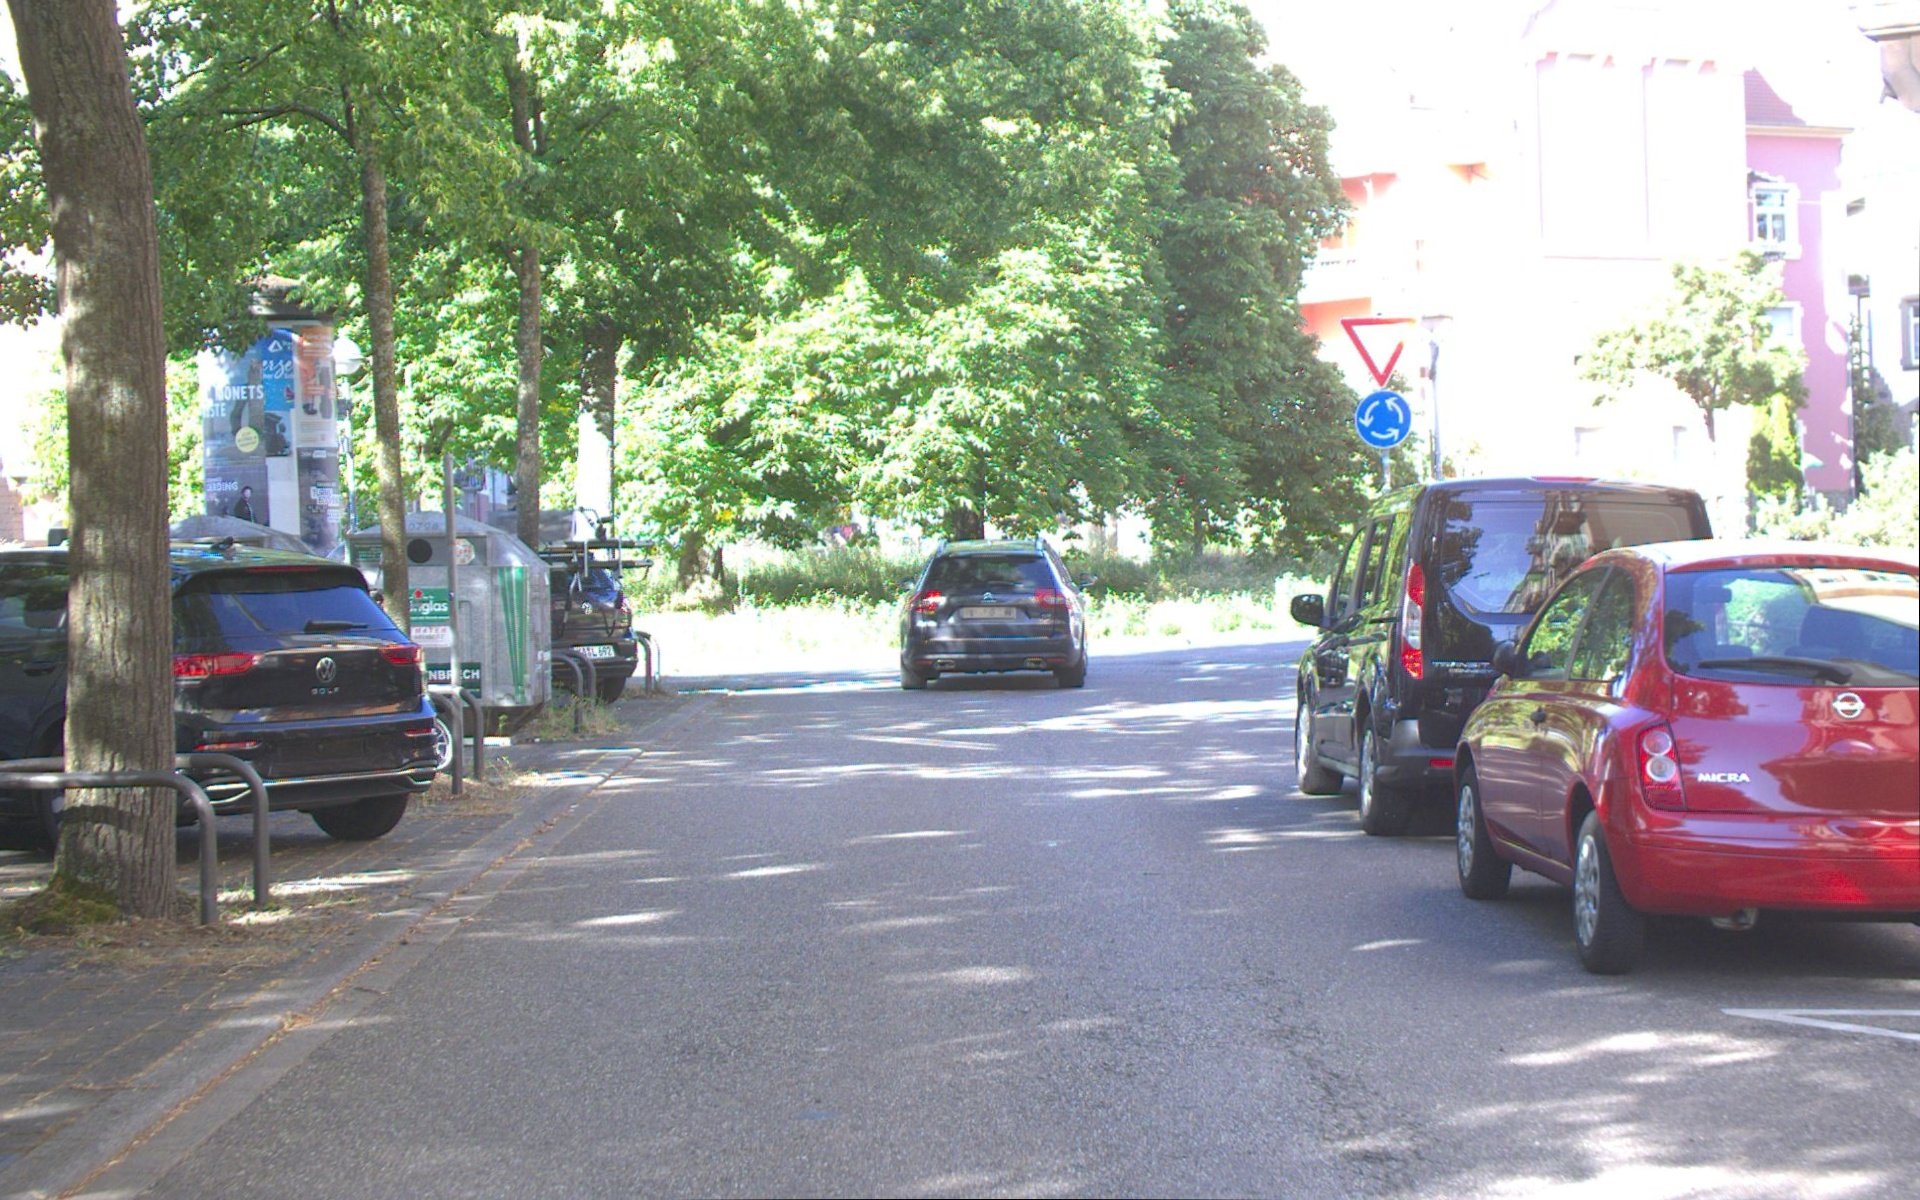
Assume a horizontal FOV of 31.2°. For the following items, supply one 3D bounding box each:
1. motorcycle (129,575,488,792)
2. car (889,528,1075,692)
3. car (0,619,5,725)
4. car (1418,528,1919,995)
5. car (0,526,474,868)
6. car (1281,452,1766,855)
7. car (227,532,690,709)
[{"bbox_3d":[-3.767,0.477,19.944,1.939,1.167,0.518,-2,1,2],"label":"motorcycle"},{"bbox_3d":[0.243,0.050,34.808,1.714,1.478,4.145,-2,1,1],"label":"car"},{"bbox_3d":[-9.600,0.357,26.754,3.789,1.461,1.644,-2,1,12],"label":"car"},{"bbox_3d":[2.932,0.505,13.485,1.645,1.532,4.000,2,1,-1],"label":"car"},{"bbox_3d":[-4.456,0.407,16.707,4.098,1.461,1.863,0,0,39],"label":"car"},{"bbox_3d":[2.877,0.213,18.486,1.801,1.864,4.273,2,1,-1],"label":"car"},{"bbox_3d":[-4.517,0.175,30.683,4.138,1.476,1.772,-1,0,40],"label":"car"}]
